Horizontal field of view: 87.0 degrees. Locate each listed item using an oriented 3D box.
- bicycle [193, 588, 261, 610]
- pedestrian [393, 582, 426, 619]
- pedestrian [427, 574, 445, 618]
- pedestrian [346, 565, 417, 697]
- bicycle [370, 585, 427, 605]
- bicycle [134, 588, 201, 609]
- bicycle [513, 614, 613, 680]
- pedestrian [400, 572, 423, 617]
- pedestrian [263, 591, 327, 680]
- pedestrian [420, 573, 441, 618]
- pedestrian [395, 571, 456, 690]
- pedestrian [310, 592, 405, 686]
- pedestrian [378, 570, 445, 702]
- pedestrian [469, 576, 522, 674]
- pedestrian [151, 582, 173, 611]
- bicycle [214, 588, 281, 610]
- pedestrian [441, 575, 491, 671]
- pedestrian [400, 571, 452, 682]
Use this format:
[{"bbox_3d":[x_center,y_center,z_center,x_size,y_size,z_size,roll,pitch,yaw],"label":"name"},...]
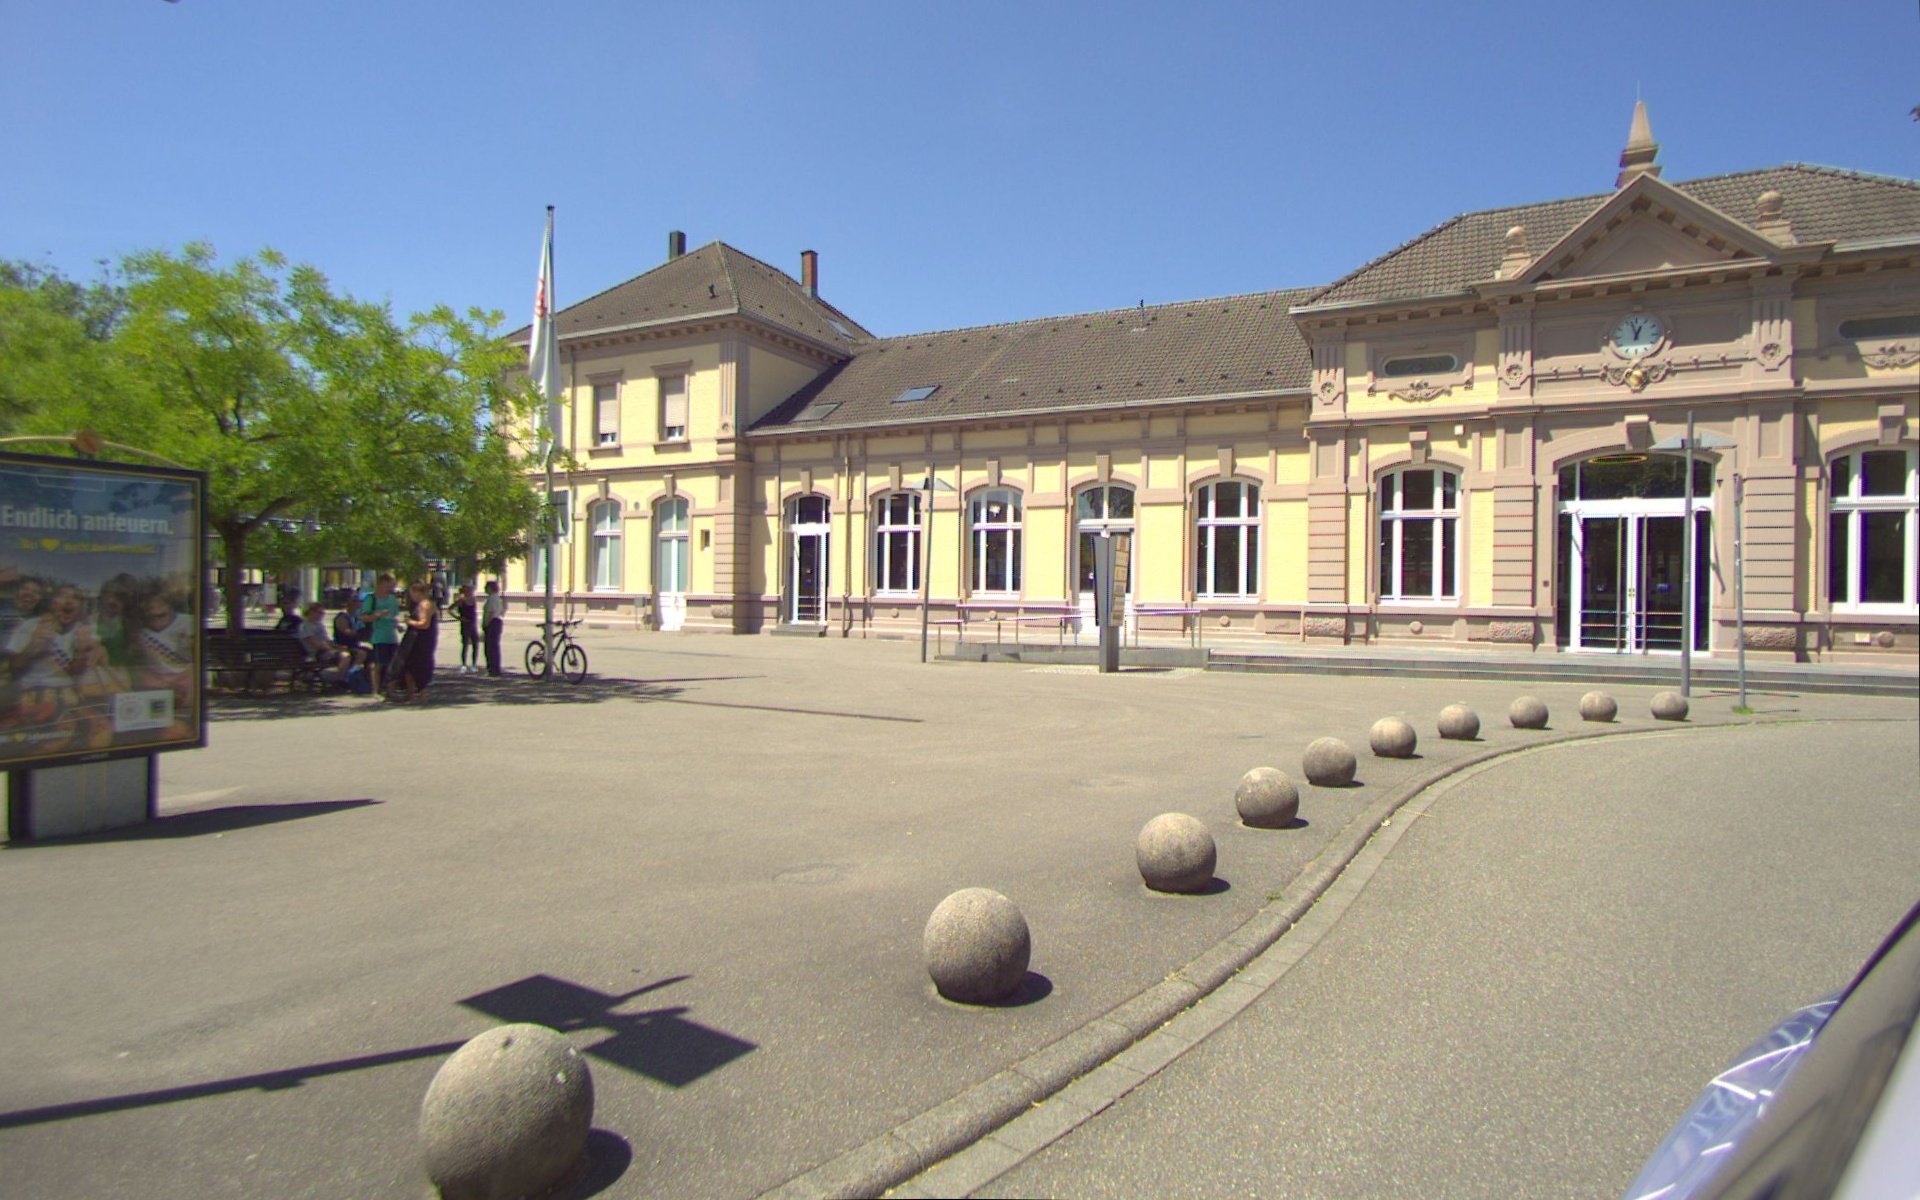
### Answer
[{"bbox_3d":[-37.626,-0.050,51.982,0.803,1.017,2.770,0,-2,25],"label":"bicycle"},{"bbox_3d":[-23.836,0.016,43.831,0.848,1.610,0.917,1,0,26],"label":"pedestrian"},{"bbox_3d":[-21.940,-0.185,42.388,0.542,1.832,0.497,1,0,-42],"label":"pedestrian"},{"bbox_3d":[-8.046,0.413,14.095,0.574,1.786,0.693,1,0,-1],"label":"pedestrian"},{"bbox_3d":[-31.899,-0.254,57.538,0.957,1.017,2.770,0,-2,25],"label":"bicycle"},{"bbox_3d":[-42.791,-0.053,54.718,0.803,1.017,2.770,0,-2,25],"label":"bicycle"},{"bbox_3d":[-6.881,0.796,17.530,1.929,1.073,0.418,0,0,26],"label":"bicycle"},{"bbox_3d":[-22.395,-0.215,41.312,0.678,1.832,0.630,1,0,-41],"label":"pedestrian"},{"bbox_3d":[-10.487,0.547,15.976,0.588,1.381,0.599,1,0,-1],"label":"pedestrian"},{"bbox_3d":[-21.798,-0.202,41.666,0.621,1.832,0.595,1,0,-42],"label":"pedestrian"},{"bbox_3d":[-8.090,0.448,15.344,0.589,1.762,0.584,1,0,2],"label":"pedestrian"},{"bbox_3d":[-9.318,0.590,15.677,0.925,1.404,0.913,1,0,-2],"label":"pedestrian"},{"bbox_3d":[-7.479,0.478,13.825,0.538,1.762,0.627,1,0,2],"label":"pedestrian"},{"bbox_3d":[-8.314,0.432,18.131,0.582,1.706,0.616,1,0,15],"label":"pedestrian"},{"bbox_3d":[-39.181,-0.192,49.715,0.670,1.412,0.621,0,1,27],"label":"pedestrian"},{"bbox_3d":[-36.311,-0.037,51.624,0.803,1.017,2.770,0,-2,25],"label":"bicycle"},{"bbox_3d":[-8.974,0.408,18.380,0.579,1.706,0.552,1,0,15],"label":"pedestrian"},{"bbox_3d":[-8.647,0.417,16.409,0.560,1.762,0.512,1,0,-2],"label":"pedestrian"}]
